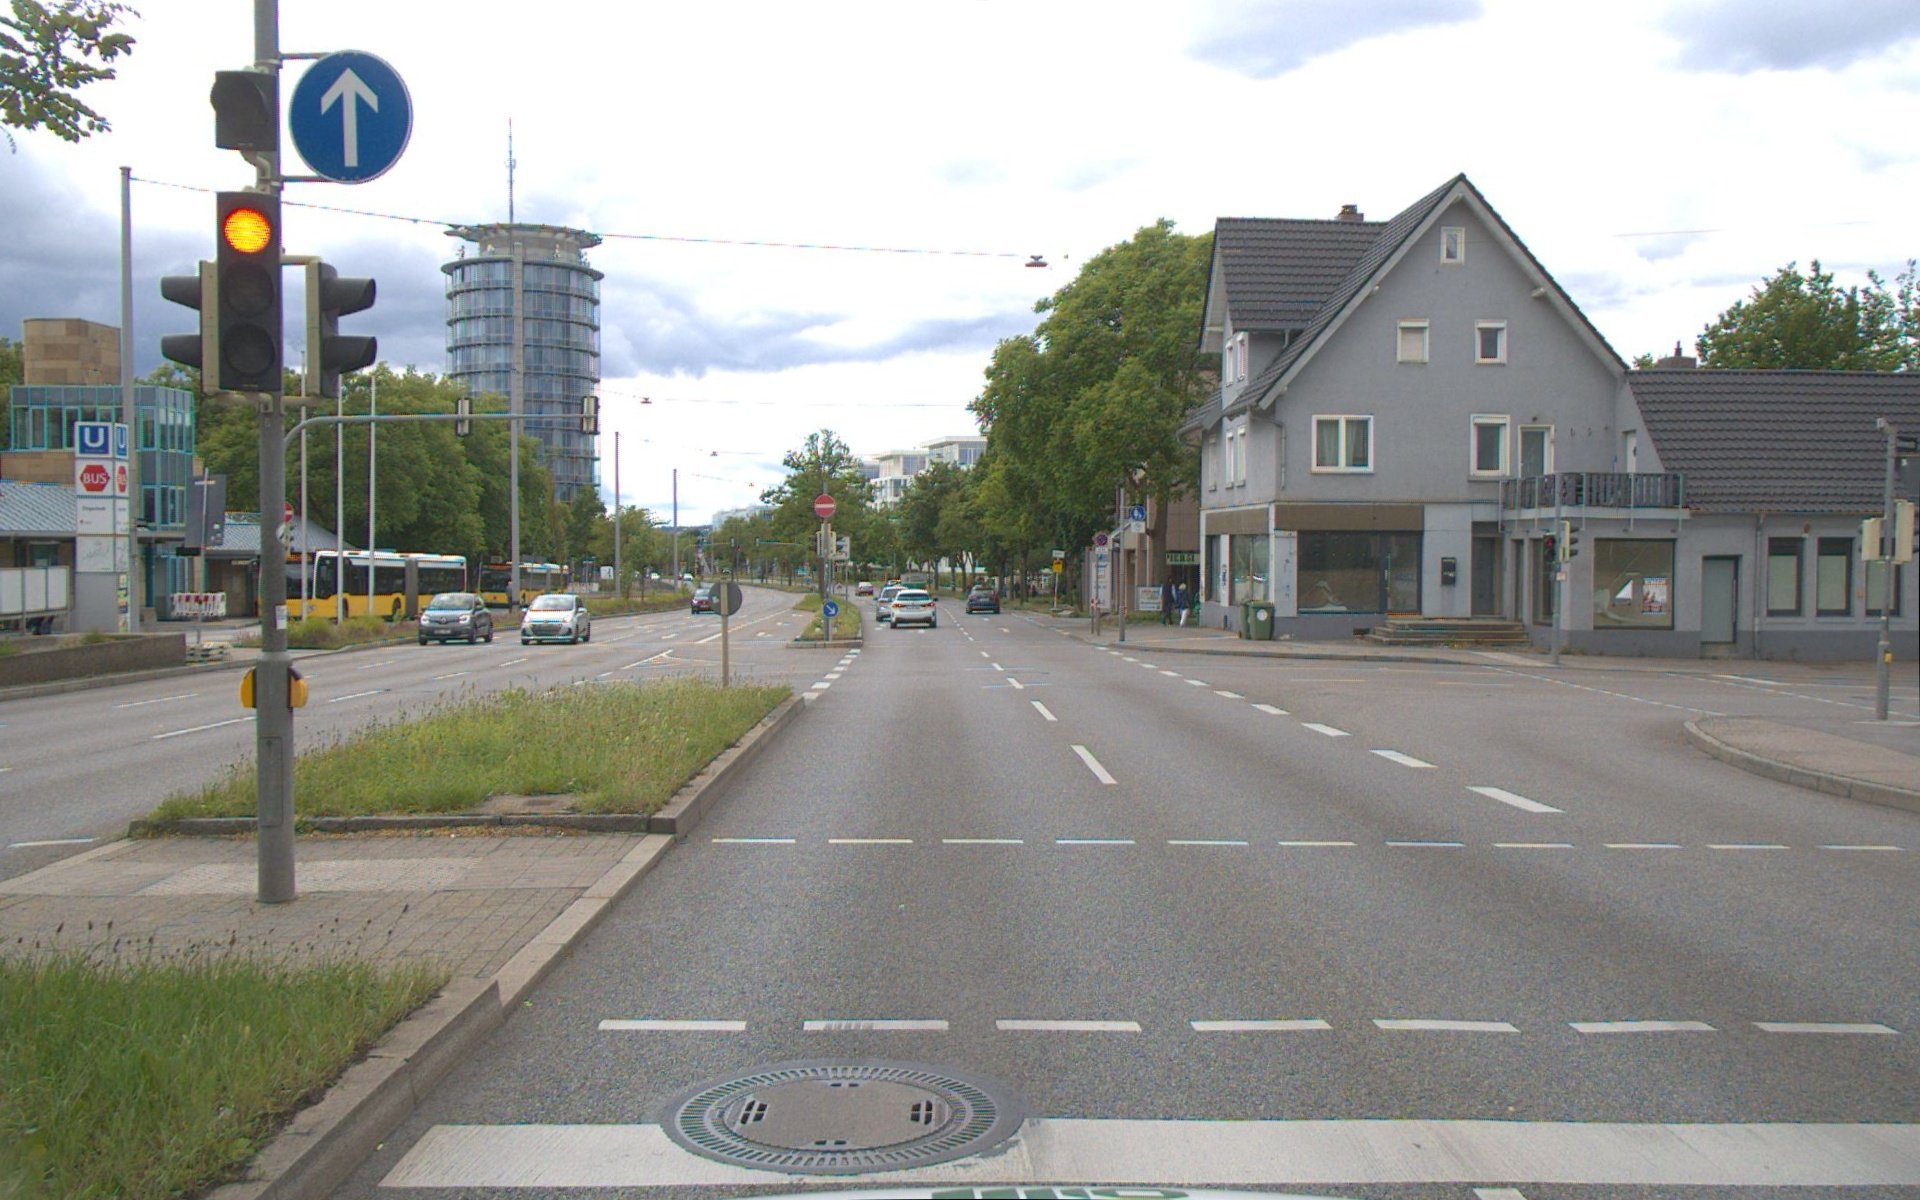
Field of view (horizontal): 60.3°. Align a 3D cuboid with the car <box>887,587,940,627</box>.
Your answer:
[{"bbox_3d":[-1.791,0.267,64.694,1.953,1.503,4.256,0,0,-1],"label":"car"}]

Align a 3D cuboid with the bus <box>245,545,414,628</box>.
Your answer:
[{"bbox_3d":[-27.079,-0.559,71.698,2.927,3.307,10.174,-1,0,3],"label":"bus"}]

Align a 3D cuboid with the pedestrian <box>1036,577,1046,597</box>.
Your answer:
[{"bbox_3d":[6.478,-1.055,132.650,0.638,1.597,0.669,0,0,-9],"label":"pedestrian"}]

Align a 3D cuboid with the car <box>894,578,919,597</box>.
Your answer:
[{"bbox_3d":[-5.392,-1.241,165.006,2.207,1.787,4.927,0,0,-5],"label":"car"}]

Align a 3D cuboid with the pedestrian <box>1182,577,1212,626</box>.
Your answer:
[{"bbox_3d":[8.735,0.056,61.021,0.855,1.811,0.703,0,0,-23],"label":"pedestrian"}]

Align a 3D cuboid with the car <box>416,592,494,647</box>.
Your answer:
[{"bbox_3d":[-15.471,0.565,50.818,1.652,1.606,3.344,0,0,-6],"label":"car"}]

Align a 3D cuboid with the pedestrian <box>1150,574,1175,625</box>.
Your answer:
[{"bbox_3d":[7.248,-0.013,59.198,0.691,1.811,0.870,-1,0,23],"label":"pedestrian"}]

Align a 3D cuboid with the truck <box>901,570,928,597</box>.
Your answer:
[{"bbox_3d":[-4.339,-1.534,156.429,2.207,2.459,4.927,0,0,-5],"label":"truck"}]

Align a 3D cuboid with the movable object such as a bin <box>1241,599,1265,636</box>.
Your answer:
[{"bbox_3d":[7.969,0.478,44.954,0.518,0.997,0.736,0,0,-1],"label":"movable object such as a bin"}]

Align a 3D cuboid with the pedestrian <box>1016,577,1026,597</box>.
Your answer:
[{"bbox_3d":[4.899,-1.009,132.814,0.638,1.597,0.669,0,0,-9],"label":"pedestrian"}]

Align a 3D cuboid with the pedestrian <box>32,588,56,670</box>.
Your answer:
[{"bbox_3d":[-18.366,0.581,33.148,0.414,1.619,0.353,0,0,-30],"label":"pedestrian"}]

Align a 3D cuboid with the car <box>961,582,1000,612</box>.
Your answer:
[{"bbox_3d":[1.098,-0.119,89.479,1.851,1.521,4.096,-1,-1,-2],"label":"car"}]

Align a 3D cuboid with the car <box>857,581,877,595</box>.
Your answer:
[{"bbox_3d":[-9.710,-1.258,173.027,1.929,1.444,4.017,0,0,-6],"label":"car"}]

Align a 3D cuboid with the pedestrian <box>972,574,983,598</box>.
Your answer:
[{"bbox_3d":[1.759,-1.434,169.021,0.914,2.349,1.008,1,-1,-10],"label":"pedestrian"}]

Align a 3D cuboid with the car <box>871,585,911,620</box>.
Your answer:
[{"bbox_3d":[-3.185,0.106,76.941,1.786,1.567,4.113,0,0,-2],"label":"car"}]

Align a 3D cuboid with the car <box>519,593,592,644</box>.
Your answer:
[{"bbox_3d":[-12.363,0.551,50.730,1.651,1.488,3.552,0,0,-5],"label":"car"}]

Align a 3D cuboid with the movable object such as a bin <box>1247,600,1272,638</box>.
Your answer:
[{"bbox_3d":[7.999,0.497,44.165,0.518,0.997,0.736,0,0,-1],"label":"movable object such as a bin"}]

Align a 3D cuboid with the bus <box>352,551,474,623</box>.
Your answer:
[{"bbox_3d":[-26.541,-0.612,80.723,2.927,3.327,7.879,-1,0,3],"label":"bus"}]

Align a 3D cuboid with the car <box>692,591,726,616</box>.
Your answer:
[{"bbox_3d":[-15.464,0.188,102.132,1.668,1.518,3.560,-1,0,-2],"label":"car"}]

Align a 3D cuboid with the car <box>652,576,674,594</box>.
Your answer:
[{"bbox_3d":[-35.895,-1.828,199.748,1.925,2.049,3.999,1,0,-1],"label":"car"}]

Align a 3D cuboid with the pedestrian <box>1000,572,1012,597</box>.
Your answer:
[{"bbox_3d":[3.921,-1.319,141.429,0.951,2.049,0.981,1,-1,-2],"label":"pedestrian"}]

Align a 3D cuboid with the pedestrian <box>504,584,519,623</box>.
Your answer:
[{"bbox_3d":[-22.819,0.178,84.079,0.652,1.930,0.681,0,0,-22],"label":"pedestrian"}]

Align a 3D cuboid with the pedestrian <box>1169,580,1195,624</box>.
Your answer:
[{"bbox_3d":[7.833,0.058,58.396,0.691,1.533,0.869,-1,0,25],"label":"pedestrian"}]

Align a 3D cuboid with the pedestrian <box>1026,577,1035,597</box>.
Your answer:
[{"bbox_3d":[5.673,-1.021,132.778,0.638,1.597,0.669,0,0,-9],"label":"pedestrian"}]

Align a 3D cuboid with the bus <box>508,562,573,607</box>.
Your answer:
[{"bbox_3d":[-31.140,-1.131,123.016,3.081,3.281,7.762,0,0,-2],"label":"bus"}]

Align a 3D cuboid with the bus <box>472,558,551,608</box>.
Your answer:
[{"bbox_3d":[-30.778,-1.116,114.017,3.082,3.281,10.279,0,0,-3],"label":"bus"}]
